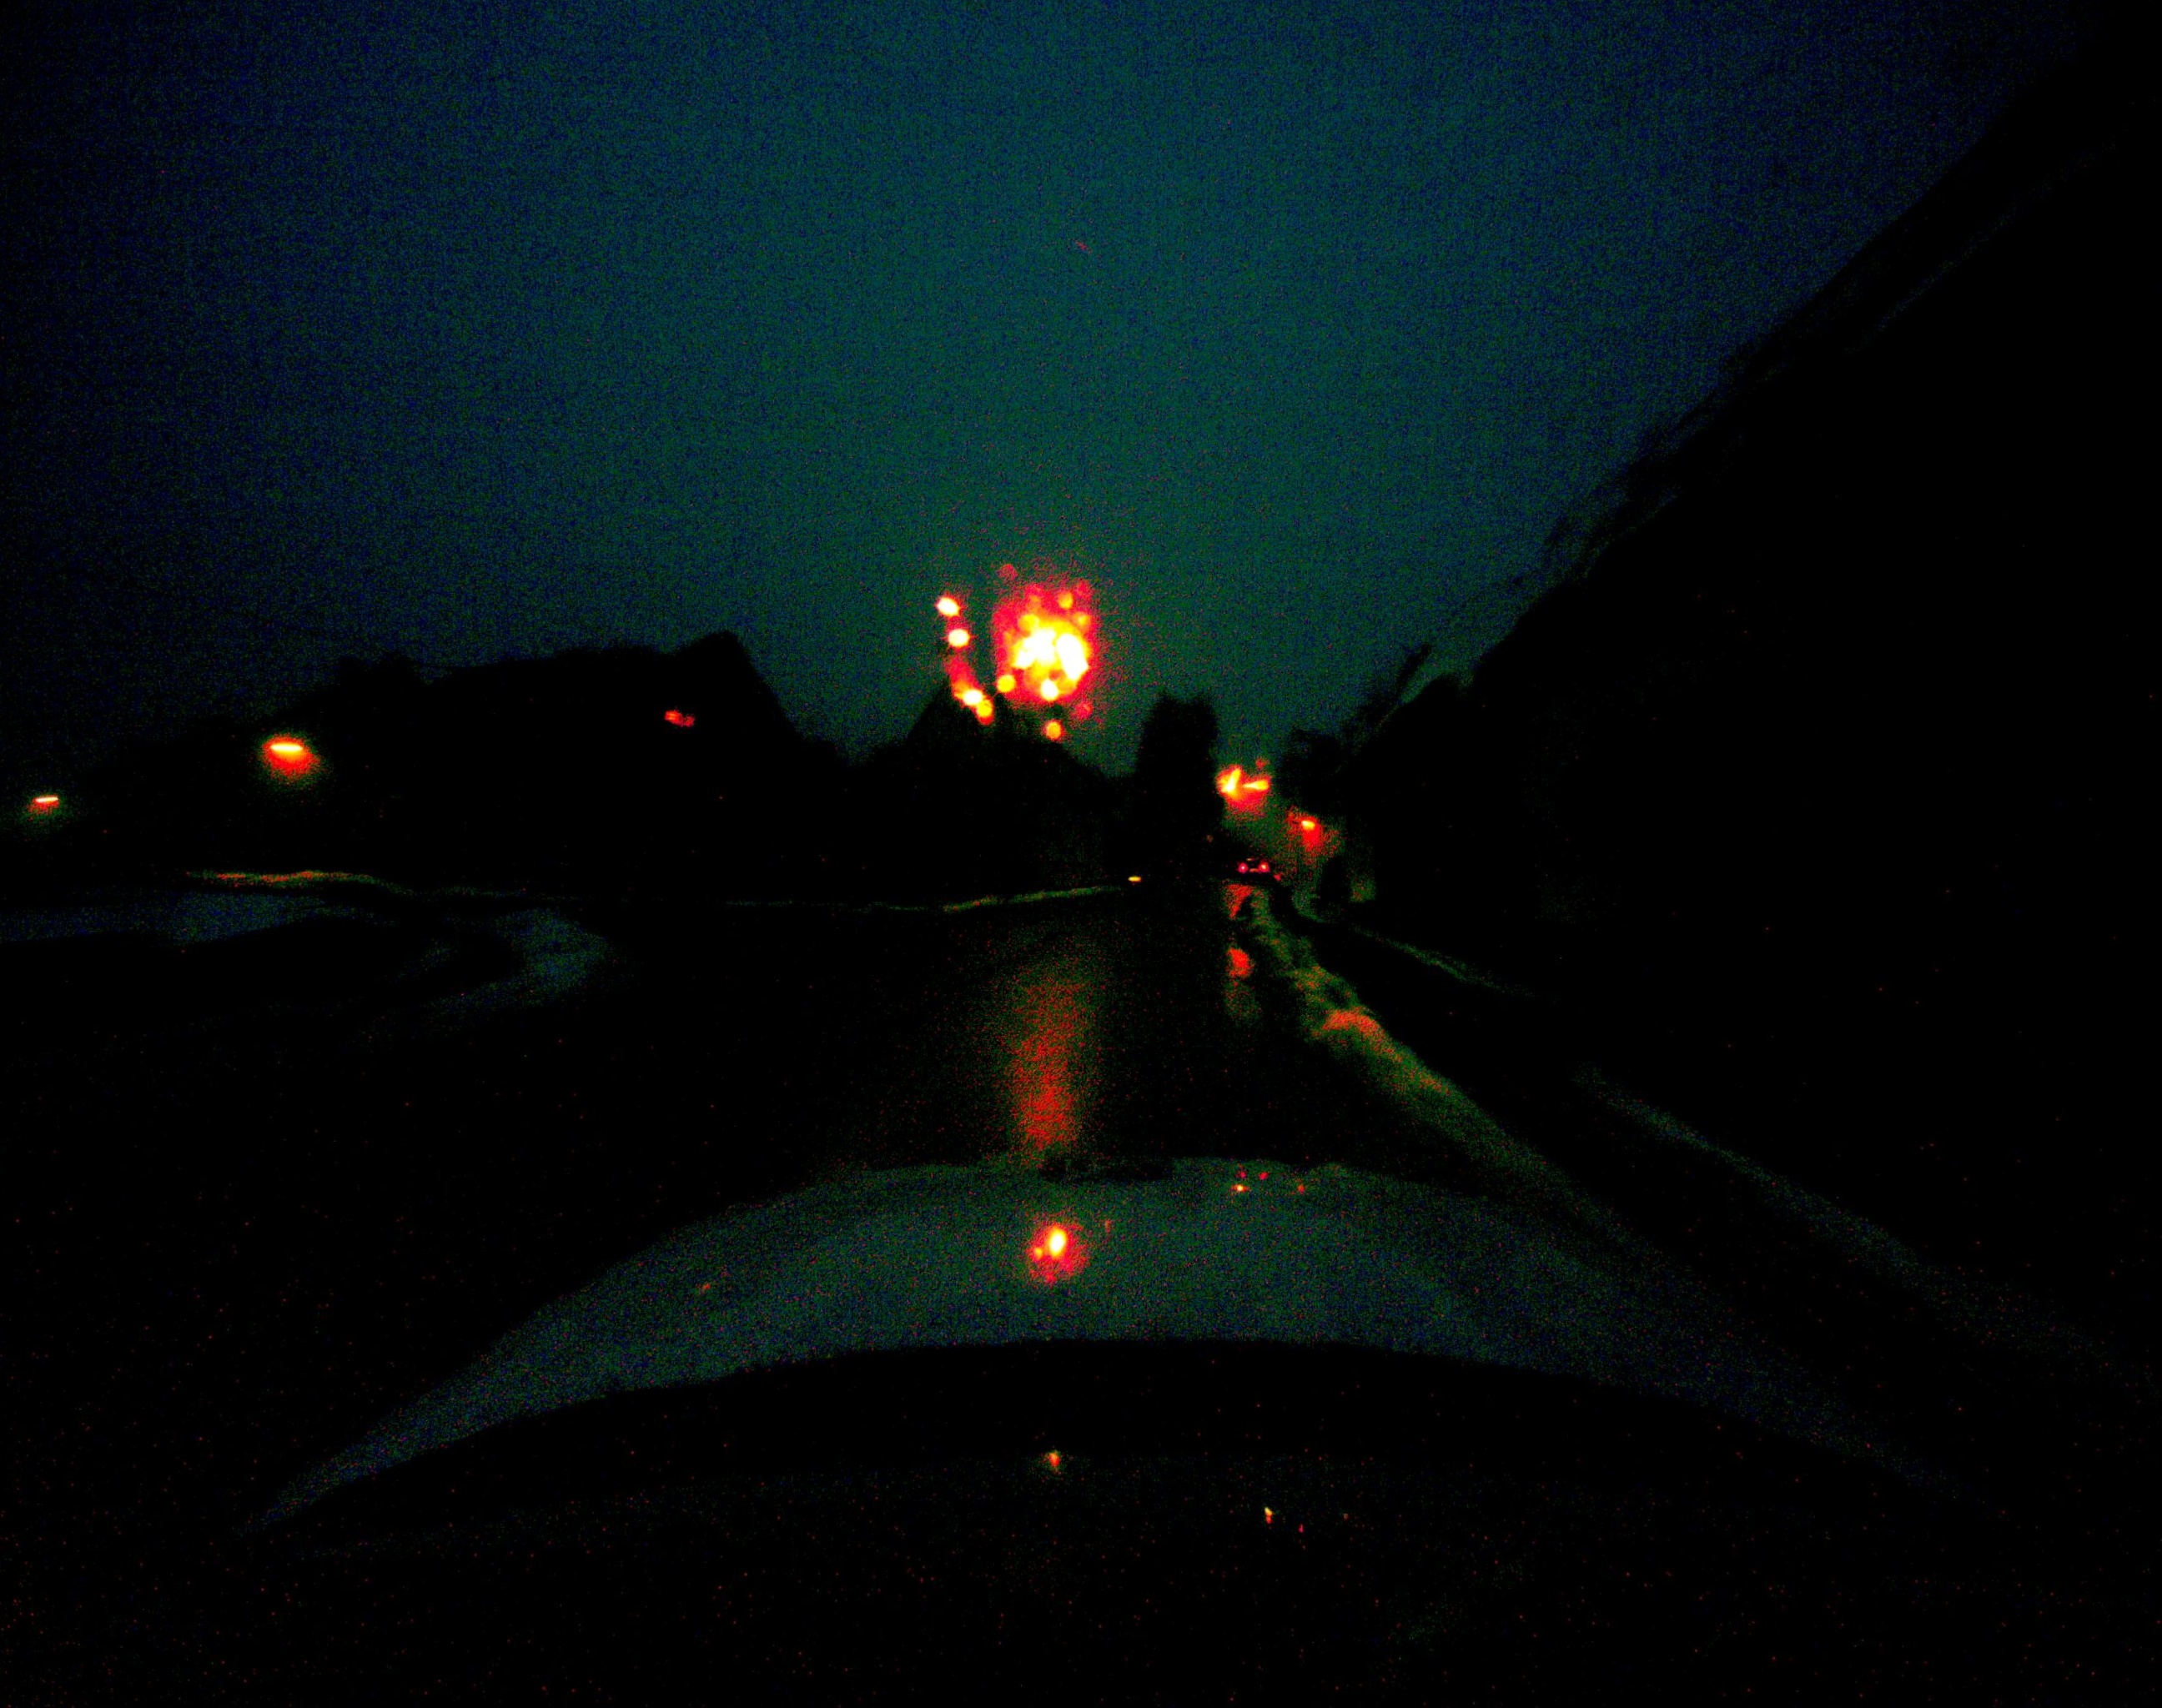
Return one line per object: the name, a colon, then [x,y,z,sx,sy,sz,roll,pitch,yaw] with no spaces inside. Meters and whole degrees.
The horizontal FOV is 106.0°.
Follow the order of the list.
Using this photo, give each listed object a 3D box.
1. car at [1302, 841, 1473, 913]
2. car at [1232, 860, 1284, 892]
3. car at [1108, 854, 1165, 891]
car: [7.100,0.559,19.164,3.420,1.387,1.642,-4,-3,7]
car: [10.632,1.301,48.711,1.975,1.737,3.902,-5,-3,28]
car: [2.878,0.955,41.336,1.979,1.651,4.016,-4,-3,15]
